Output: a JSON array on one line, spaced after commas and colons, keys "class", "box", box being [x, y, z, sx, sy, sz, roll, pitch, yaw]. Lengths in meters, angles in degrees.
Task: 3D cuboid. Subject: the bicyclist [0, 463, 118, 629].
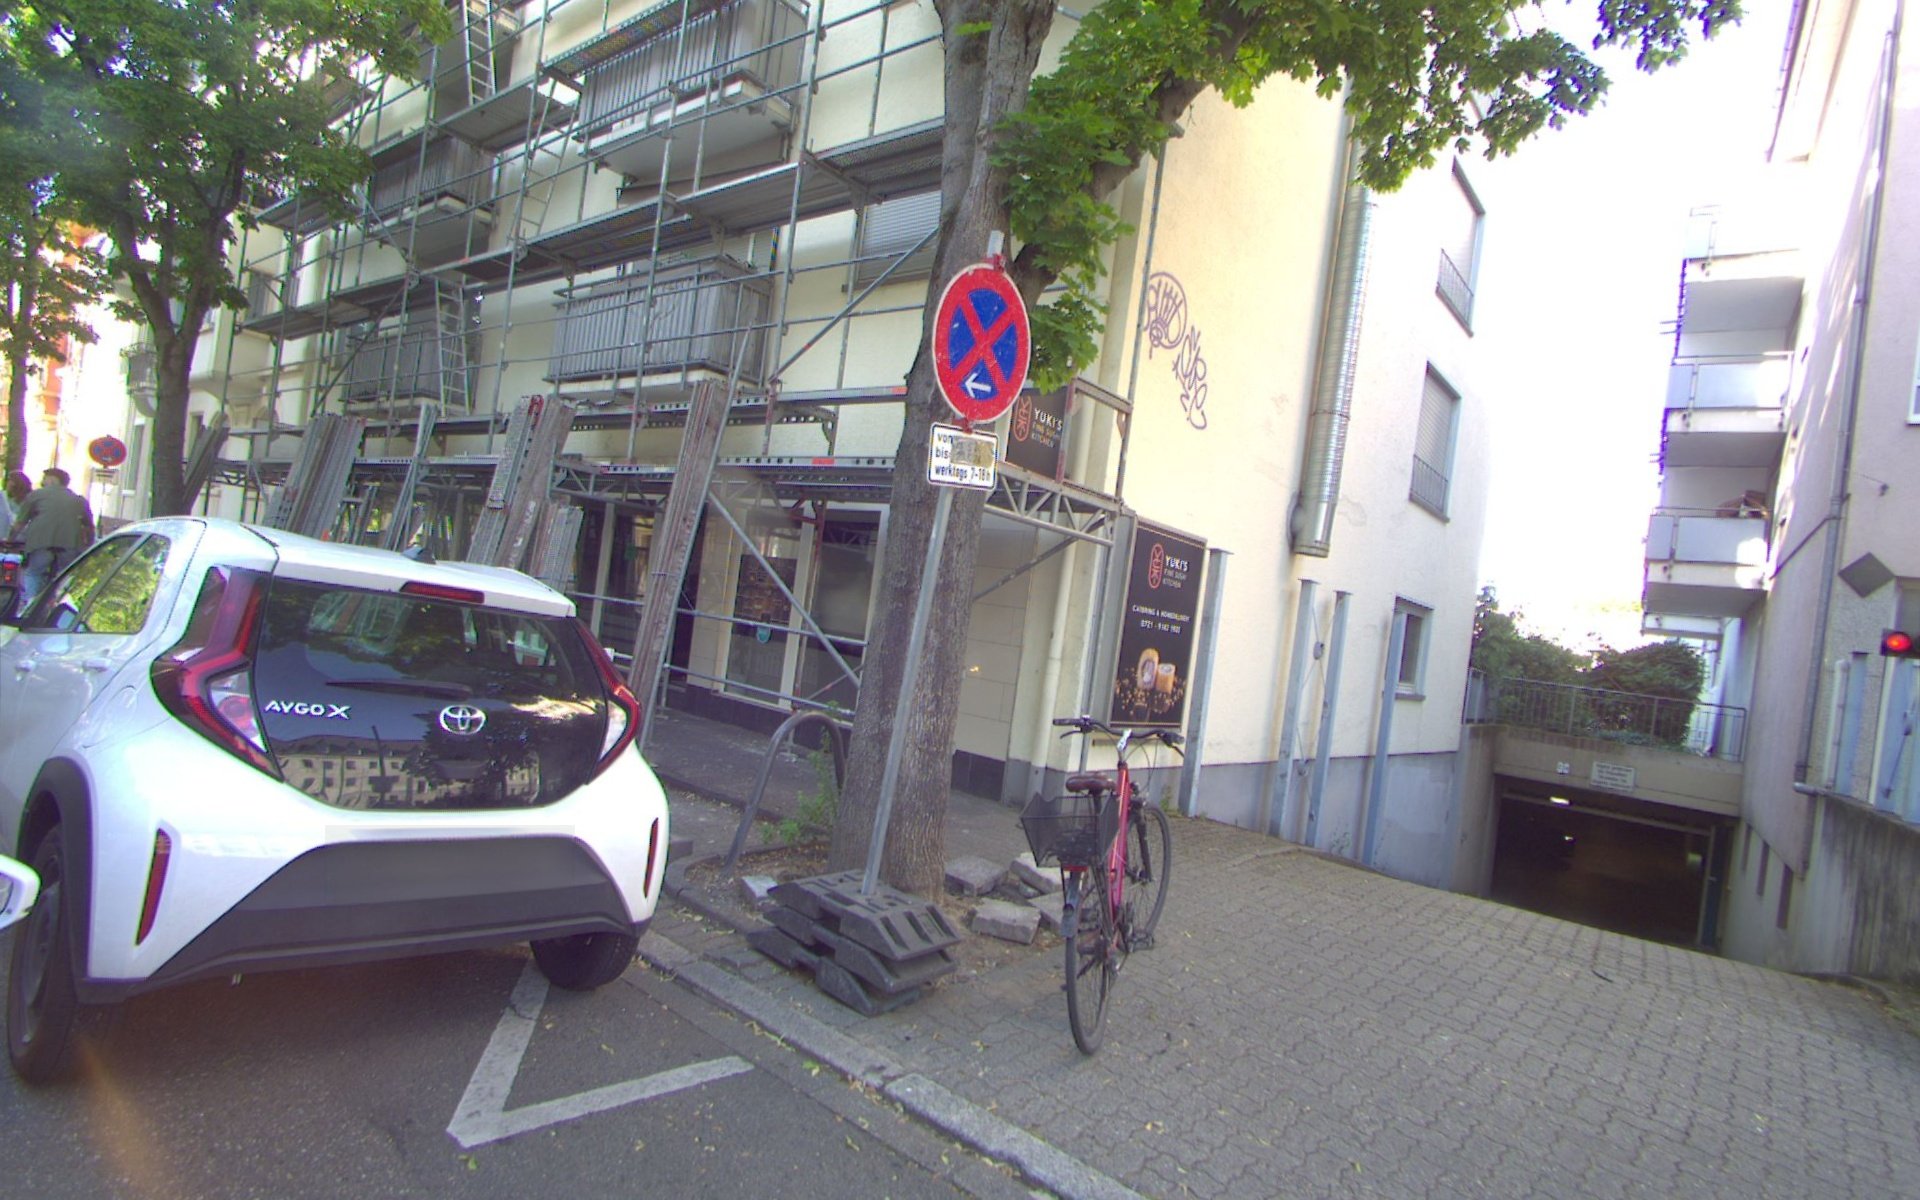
[{"class": "bicyclist", "box": [-9.525, -0.567, 10.612, 0.754, 1.583, 0.969, 9, -2, -44]}]

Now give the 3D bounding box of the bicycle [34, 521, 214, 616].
[{"class": "bicycle", "box": [-12.637, -0.464, 15.283, 1.969, 1.134, 0.739, 9, -1, -40]}]

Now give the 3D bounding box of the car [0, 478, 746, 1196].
[{"class": "car", "box": [-2.881, 0.459, 4.127, 3.909, 1.553, 1.801, 7, -2, 42]}]

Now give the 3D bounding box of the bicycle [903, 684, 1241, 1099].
[{"class": "bicycle", "box": [0.600, 1.049, 4.344, 0.738, 1.170, 1.969, 7, 2, 26]}]

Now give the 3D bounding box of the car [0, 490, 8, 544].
[{"class": "car", "box": [-30.134, -2.681, 30.206, 4.714, 1.548, 1.748, 7, 0, 41]}]

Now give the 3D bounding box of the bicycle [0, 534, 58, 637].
[{"class": "bicycle", "box": [-11.326, -0.221, 11.889, 1.833, 1.056, 0.705, 6, -4, 43]}]

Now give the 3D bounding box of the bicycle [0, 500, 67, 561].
[{"class": "bicycle", "box": [-23.127, -1.744, 24.593, 0.577, 1.321, 1.759, 7, -1, 38]}]

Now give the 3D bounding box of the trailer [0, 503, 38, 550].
[{"class": "trailer", "box": [-26.082, -2.077, 26.663, 1.096, 1.125, 2.086, 7, -1, 26]}]

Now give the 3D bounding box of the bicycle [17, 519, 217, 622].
[{"class": "bicycle", "box": [-11.756, -0.395, 14.107, 1.903, 1.134, 0.744, 9, -1, -21]}]

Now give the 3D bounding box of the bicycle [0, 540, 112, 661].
[{"class": "bicycle", "box": [-9.580, -0.022, 10.618, 0.737, 1.072, 1.835, 9, -3, -44]}]

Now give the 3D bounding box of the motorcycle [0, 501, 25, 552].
[{"class": "motorcycle", "box": [-25.143, -1.969, 25.712, 0.689, 1.255, 1.766, 8, -1, 1]}]

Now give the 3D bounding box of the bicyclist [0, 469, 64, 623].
[{"class": "bicyclist", "box": [-11.347, -0.661, 11.973, 0.968, 1.707, 0.714, 7, -3, 43]}]

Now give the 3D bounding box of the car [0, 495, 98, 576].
[{"class": "car", "box": [-20.359, -1.490, 21.874, 4.366, 1.440, 1.678, 7, 0, 40]}]
